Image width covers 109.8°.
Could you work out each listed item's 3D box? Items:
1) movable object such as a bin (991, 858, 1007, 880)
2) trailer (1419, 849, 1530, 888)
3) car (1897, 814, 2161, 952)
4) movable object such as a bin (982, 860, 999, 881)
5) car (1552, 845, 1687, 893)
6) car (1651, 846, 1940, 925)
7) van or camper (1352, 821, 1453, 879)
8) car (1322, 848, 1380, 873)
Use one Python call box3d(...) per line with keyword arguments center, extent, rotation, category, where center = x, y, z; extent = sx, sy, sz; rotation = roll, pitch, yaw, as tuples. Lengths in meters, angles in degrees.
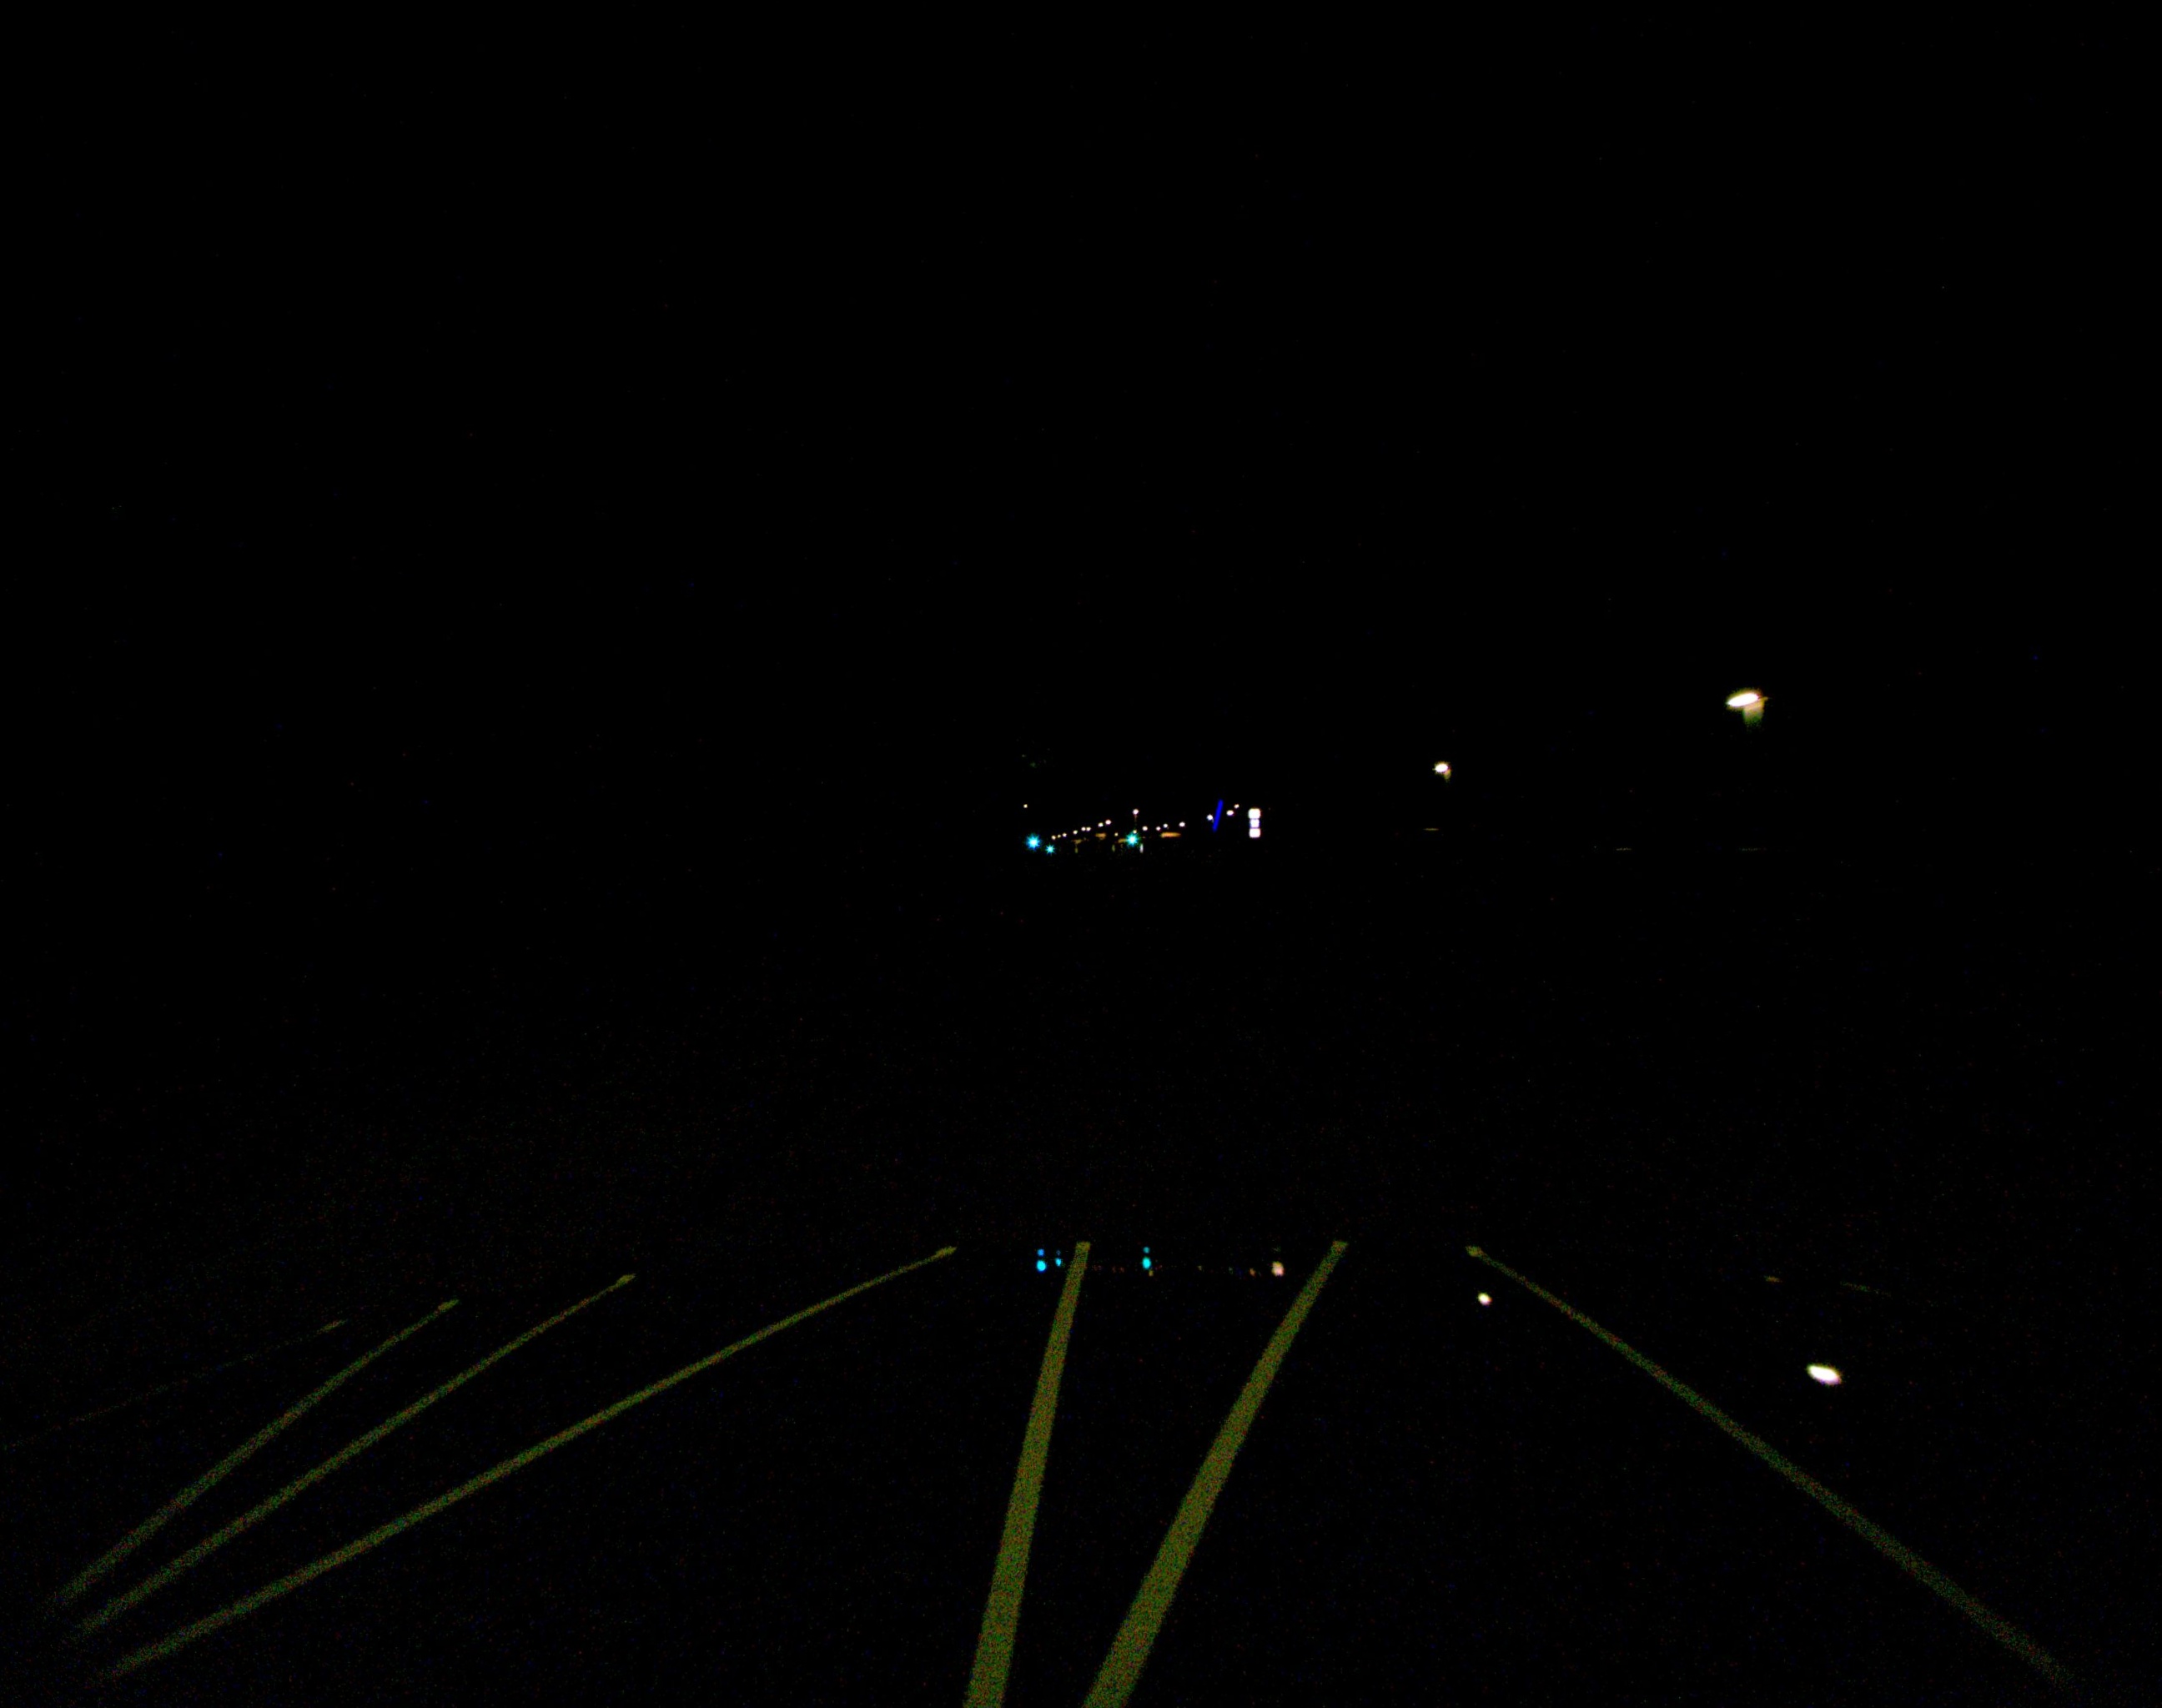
box3d(center=(-4.621, 0.852, 42.780), extent=(0.725, 1.194, 0.720), rotation=(-1, 1, 7), category="movable object such as a bin")
box3d(center=(16.102, 0.523, 31.469), extent=(2.424, 1.367, 4.656), rotation=(3, 1, 5), category="trailer")
box3d(center=(15.693, 0.367, 11.259), extent=(1.862, 1.893, 4.878), rotation=(-1, 1, -2), category="car")
box3d(center=(-4.988, 0.924, 41.984), extent=(0.724, 1.115, 0.894), rotation=(-1, 1, 7), category="movable object such as a bin")
box3d(center=(16.143, 0.421, 22.847), extent=(3.037, 1.318, 1.533), rotation=(-1, 1, -5), category="car")
box3d(center=(15.810, 0.589, 17.345), extent=(1.906, 1.513, 5.172), rotation=(-1, 1, 3), category="car")
box3d(center=(15.908, -0.178, 38.057), extent=(2.279, 2.632, 5.661), rotation=(1, 0, -4), category="van or camper")
box3d(center=(15.743, 0.359, 44.487), extent=(1.650, 1.332, 4.542), rotation=(3, 0, -1), category="car")
